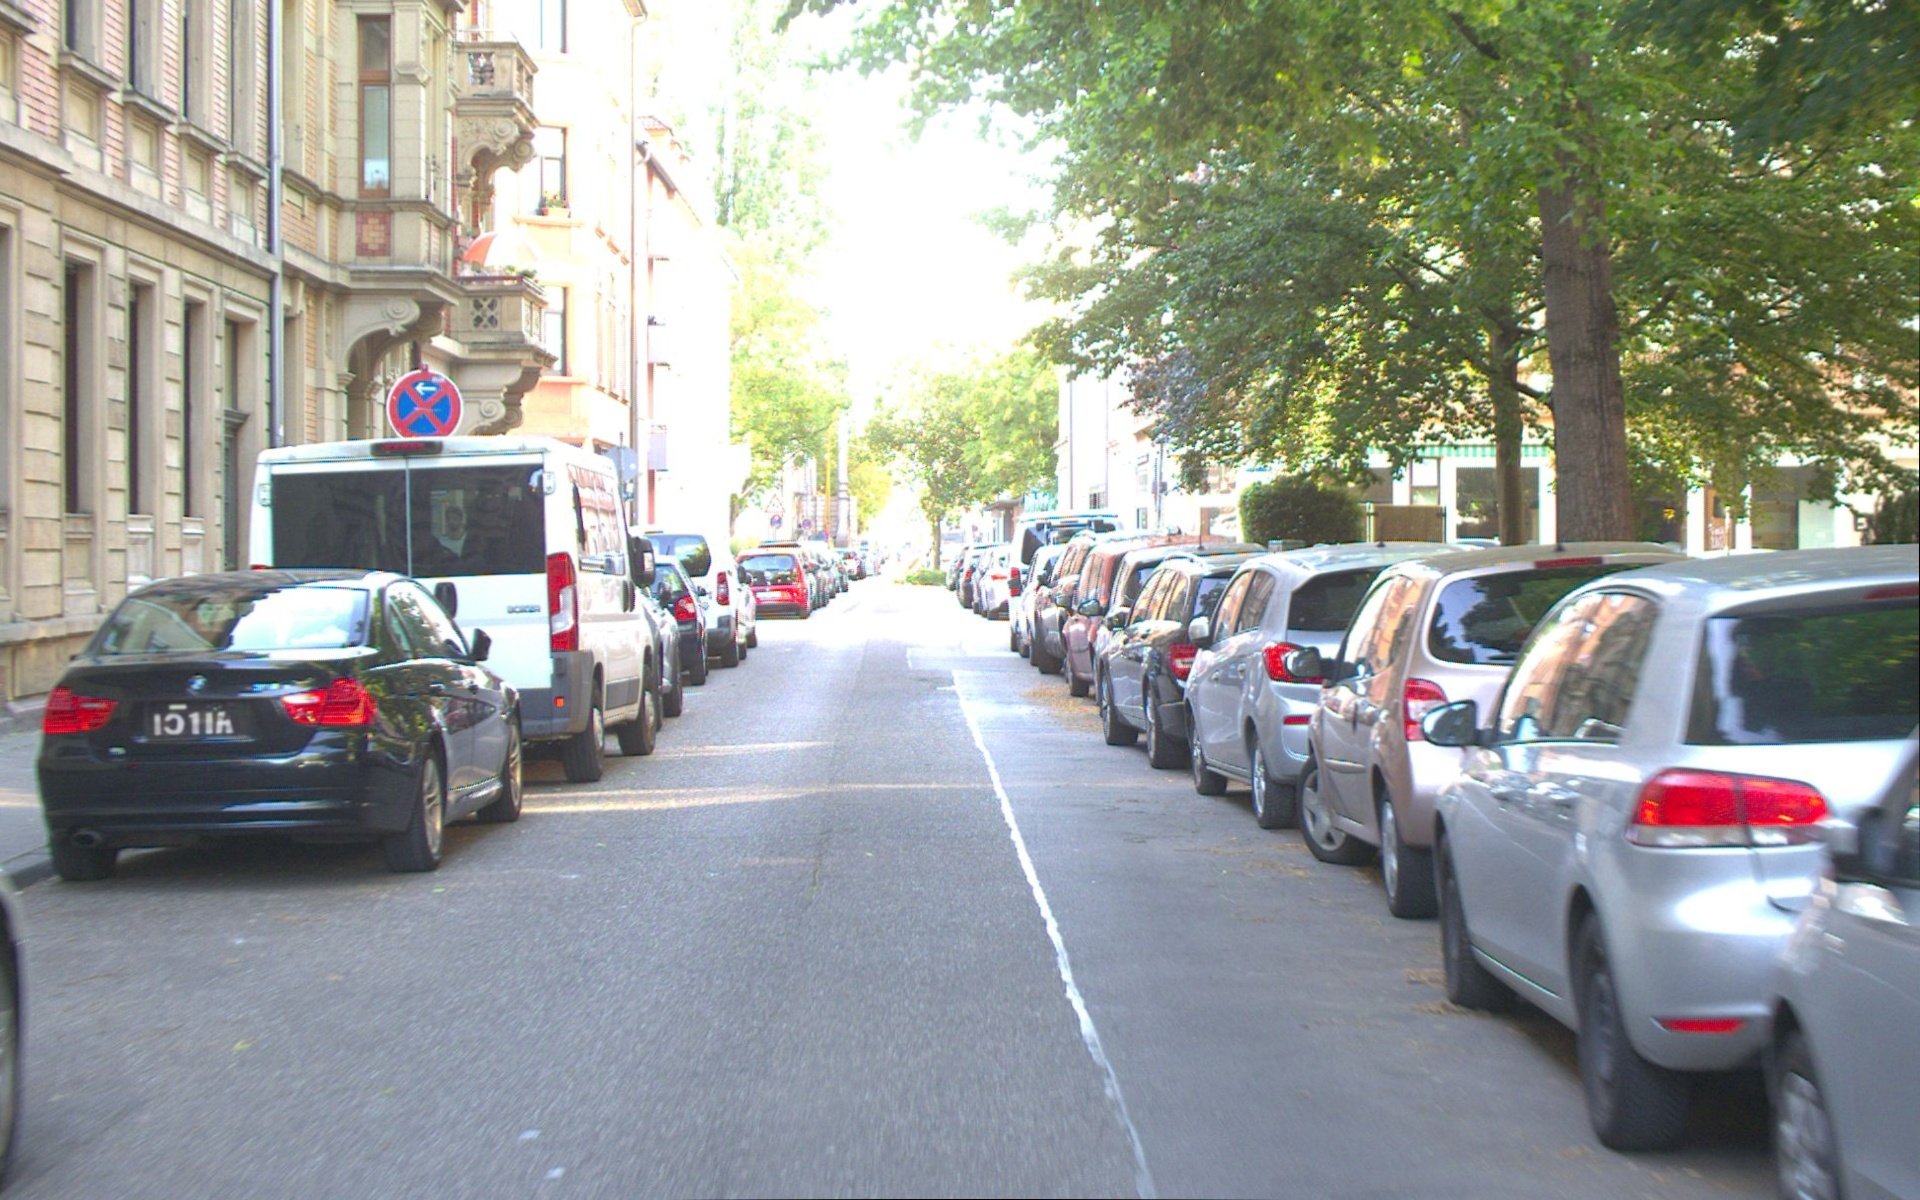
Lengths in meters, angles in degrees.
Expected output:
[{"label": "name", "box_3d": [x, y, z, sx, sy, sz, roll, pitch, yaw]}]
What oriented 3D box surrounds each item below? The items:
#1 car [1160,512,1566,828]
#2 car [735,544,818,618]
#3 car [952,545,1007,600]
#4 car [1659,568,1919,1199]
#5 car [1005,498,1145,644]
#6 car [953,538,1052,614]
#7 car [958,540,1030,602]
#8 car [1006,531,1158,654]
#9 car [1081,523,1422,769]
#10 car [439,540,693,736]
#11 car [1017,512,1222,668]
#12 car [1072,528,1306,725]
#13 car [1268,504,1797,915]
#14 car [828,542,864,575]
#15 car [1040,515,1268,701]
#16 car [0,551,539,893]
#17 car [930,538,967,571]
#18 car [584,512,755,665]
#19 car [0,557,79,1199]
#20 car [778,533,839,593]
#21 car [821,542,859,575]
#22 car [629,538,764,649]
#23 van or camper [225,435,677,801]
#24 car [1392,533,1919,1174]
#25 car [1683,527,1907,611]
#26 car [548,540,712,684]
[{"label": "car", "box_3d": [2.187, 0.349, 19.537, 1.599, 1.500, 3.628, -5, 0, -3]}, {"label": "car", "box_3d": [-3.901, -0.424, 73.417, 1.628, 1.476, 3.601, -2, 1, -1]}, {"label": "car", "box_3d": [0.616, -0.884, 110.109, 1.676, 1.676, 4.094, -2, 0, 0]}, {"label": "car", "box_3d": [2.394, 0.675, 5.655, 1.599, 1.500, 3.720, -5, 0, 0]}, {"label": "car", "box_3d": [1.670, -0.463, 50.787, 1.914, 1.991, 4.792, -2, 1, 1]}, {"label": "car", "box_3d": [0.863, -0.534, 72.972, 1.743, 1.501, 4.358, -2, 1, -3]}, {"label": "car", "box_3d": [0.847, -0.767, 88.145, 1.675, 1.501, 3.938, -2, 1, -1]}, {"label": "car", "box_3d": [1.575, -0.126, 45.503, 1.719, 1.565, 3.829, 0, 1, -2]}, {"label": "car", "box_3d": [1.944, 0.280, 24.250, 1.675, 1.436, 4.696, -5, 0, -3]}, {"label": "car", "box_3d": [-3.327, 0.269, 29.714, 1.766, 1.509, 4.194, -2, 1, -2]}, {"label": "car", "box_3d": [1.816, -0.115, 40.422, 1.739, 1.597, 4.265, -5, 0, -5]}, {"label": "car", "box_3d": [1.933, 0.201, 29.950, 1.619, 1.481, 3.776, -5, 0, -1]}, {"label": "car", "box_3d": [2.375, 0.410, 15.079, 1.599, 1.463, 3.564, -5, 0, 0]}, {"label": "car", "box_3d": [-5.511, -2.031, 167.080, 1.675, 1.482, 4.095, -2, 1, -1]}, {"label": "car", "box_3d": [1.866, 0.072, 34.239, 1.618, 1.619, 3.864, -5, 0, -5]}, {"label": "car", "box_3d": [-3.261, 0.497, 17.011, 1.731, 1.397, 4.315, -2, 1, 1]}, {"label": "car", "box_3d": [-0.557, -2.185, 163.845, 1.675, 1.482, 3.638, -2, 1, -1]}, {"label": "car", "box_3d": [-3.689, -0.183, 44.329, 1.831, 1.805, 4.572, -2, 1, -1]}, {"label": "car", "box_3d": [-3.039, 0.694, 6.236, 1.731, 1.451, 4.522, -2, 1, -1]}, {"label": "car", "box_3d": [-4.739, -1.181, 107.750, 1.765, 1.779, 4.039, -2, 1, -1]}, {"label": "car", "box_3d": [-5.645, -1.964, 161.920, 1.675, 1.482, 4.095, -2, 1, -1]}, {"label": "car", "box_3d": [-3.775, -0.130, 49.712, 1.692, 1.476, 3.973, -2, 1, -1]}, {"label": "van or camper", "box_3d": [-3.296, 0.057, 23.405, 2.177, 2.140, 5.154, -2, 1, 1]}, {"label": "car", "box_3d": [2.333, 0.558, 9.960, 1.599, 1.465, 3.869, -2, 0, 0]}, {"label": "car", "box_3d": [15.494, -0.567, 63.943, 3.855, 1.468, 1.633, 1, -1, 6]}, {"label": "car", "box_3d": [-3.743, 0.092, 39.444, 1.692, 1.509, 3.974, -2, 1, -4]}]
